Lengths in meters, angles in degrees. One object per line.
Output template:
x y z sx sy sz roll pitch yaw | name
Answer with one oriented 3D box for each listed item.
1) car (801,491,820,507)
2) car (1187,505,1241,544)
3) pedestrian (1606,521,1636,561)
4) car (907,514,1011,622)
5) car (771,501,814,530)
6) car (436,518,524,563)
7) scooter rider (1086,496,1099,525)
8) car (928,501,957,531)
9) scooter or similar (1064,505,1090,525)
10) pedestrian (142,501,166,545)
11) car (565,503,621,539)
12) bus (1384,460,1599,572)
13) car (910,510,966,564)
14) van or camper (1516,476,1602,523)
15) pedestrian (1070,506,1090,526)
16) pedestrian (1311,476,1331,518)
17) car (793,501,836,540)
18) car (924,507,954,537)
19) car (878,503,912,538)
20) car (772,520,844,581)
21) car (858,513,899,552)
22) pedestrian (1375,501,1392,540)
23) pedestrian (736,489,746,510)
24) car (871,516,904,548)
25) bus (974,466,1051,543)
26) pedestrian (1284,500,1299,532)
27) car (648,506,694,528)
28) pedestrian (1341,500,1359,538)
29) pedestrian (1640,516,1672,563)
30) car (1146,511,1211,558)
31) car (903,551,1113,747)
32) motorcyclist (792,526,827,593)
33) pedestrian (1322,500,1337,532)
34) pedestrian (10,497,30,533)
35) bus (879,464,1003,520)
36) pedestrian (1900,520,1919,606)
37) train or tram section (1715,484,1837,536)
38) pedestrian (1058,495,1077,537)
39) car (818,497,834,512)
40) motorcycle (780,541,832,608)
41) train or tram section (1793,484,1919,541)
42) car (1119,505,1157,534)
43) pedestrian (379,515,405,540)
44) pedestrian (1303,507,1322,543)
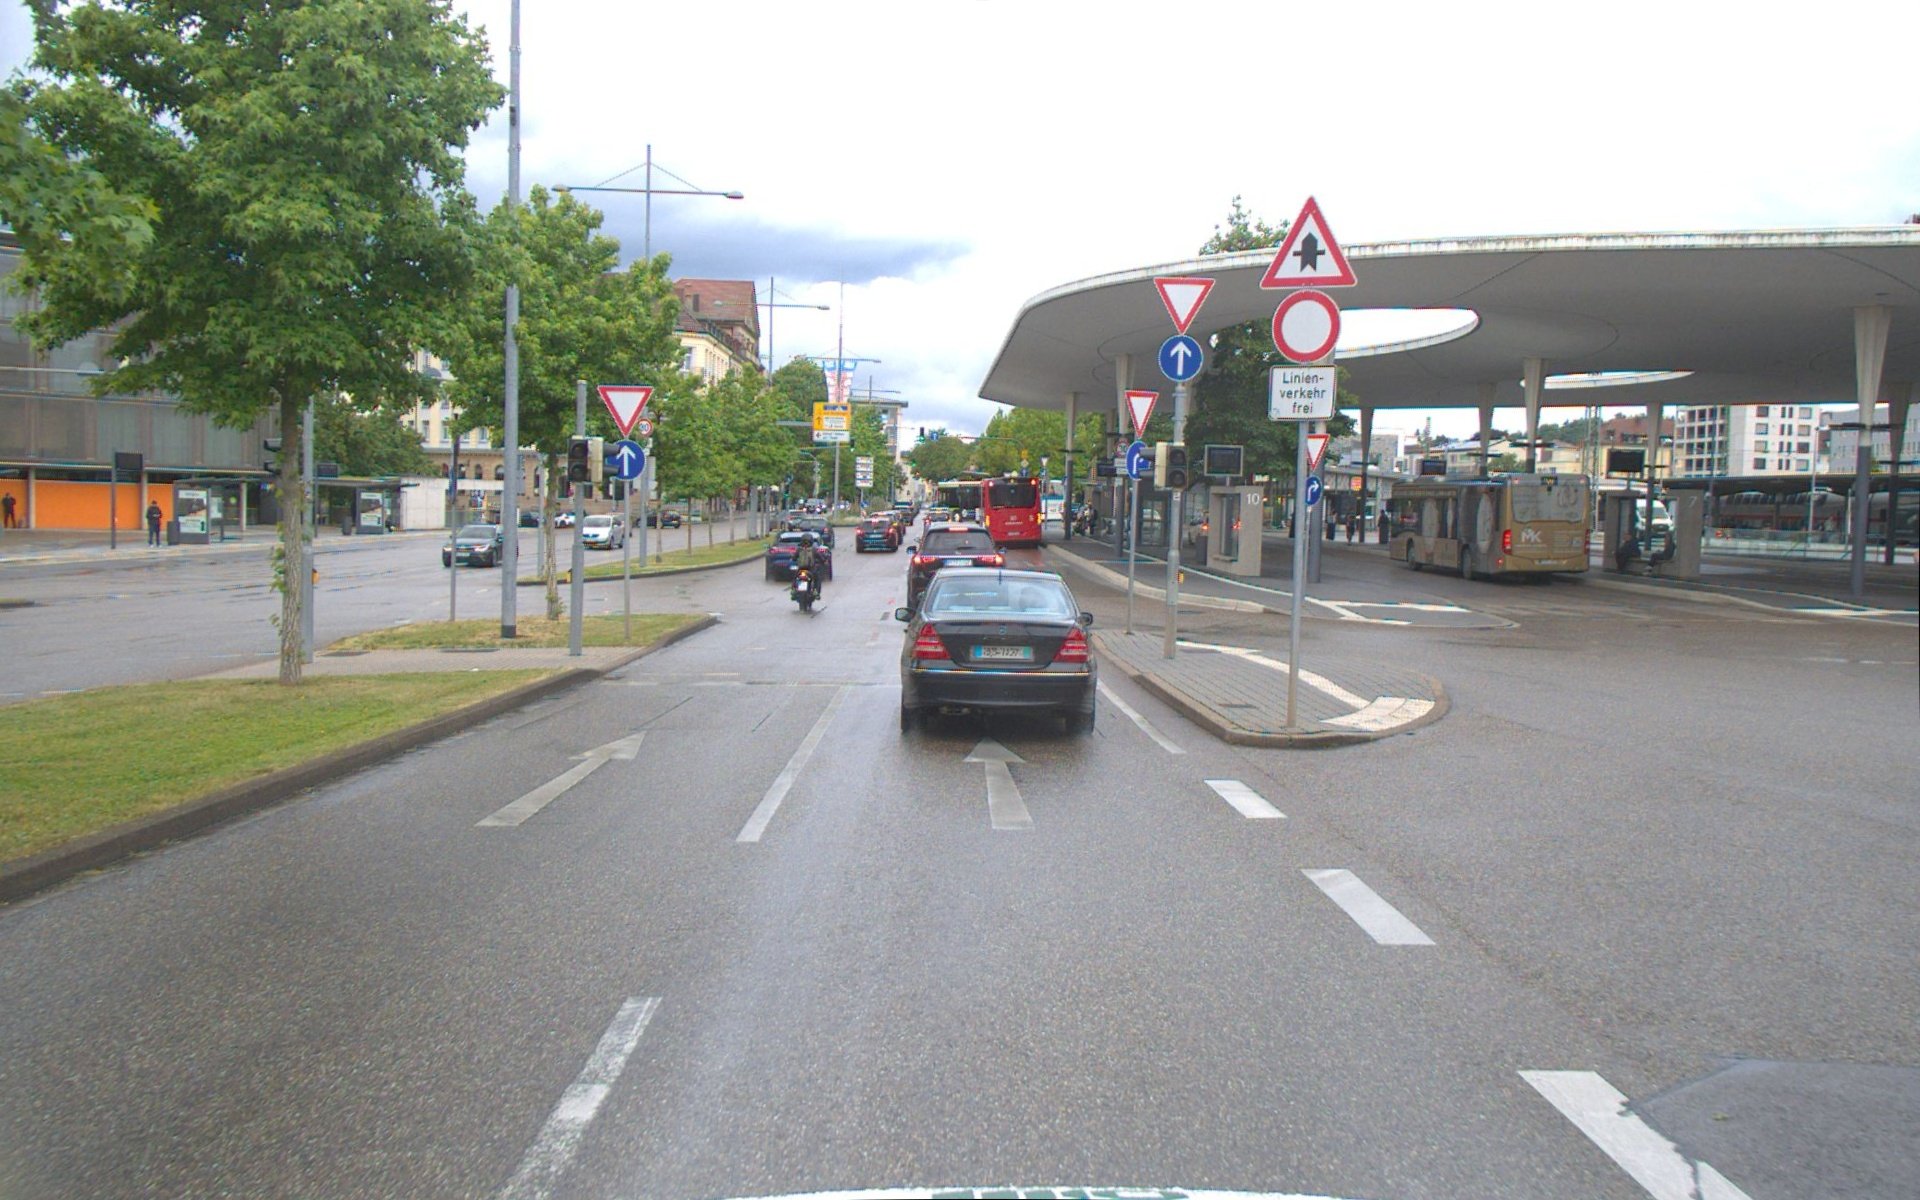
-15.691 -10.599 173.629 1.744 1.594 3.431 -2 4 -1 | car
11.712 -3.527 76.550 1.677 1.690 4.240 1 3 -2 | car
20.641 -1.852 51.675 0.776 1.247 0.634 1 3 16 | pedestrian
-0.062 -0.732 33.740 1.917 1.908 4.875 -2 4 -1 | car
-11.218 -5.632 110.668 1.838 1.713 3.977 3 1 -20 | car
-17.533 -2.208 60.666 1.809 1.530 4.921 0 3 0 | car
7.013 -4.710 87.263 0.579 1.515 0.765 1 3 13 | scooter rider
-1.020 -4.758 93.490 1.543 1.594 3.872 -2 4 -1 | car
6.190 -4.501 87.430 1.216 1.030 0.765 1 3 13 | scooter or similar
-31.625 -3.013 64.931 0.464 1.712 0.764 0 3 5 | pedestrian
-17.869 -3.880 80.742 1.809 1.681 4.420 0 3 -1 | car
16.312 -2.716 52.014 2.666 3.095 12.091 0 3 -1 | bus
-0.734 -2.086 53.719 1.706 1.594 3.872 -2 4 -1 | car
37.686 -6.294 104.135 4.515 2.602 2.118 3 1 -3 | van or camper
6.334 -4.443 87.313 0.894 1.002 0.634 2 -1 13 | pedestrian
18.388 -5.246 84.218 0.709 2.048 0.669 4 0 25 | pedestrian
-6.638 -3.660 75.616 1.642 1.651 3.872 -2 4 -1 | car
-1.406 -5.125 108.543 1.828 1.713 3.999 4 1 -2 | car
-3.196 -3.981 82.113 1.543 1.594 3.872 -2 4 -1 | car
-4.470 -1.501 49.187 1.779 1.597 4.405 -2 4 -1 | car
-3.551 -2.976 72.453 1.543 1.530 3.872 -2 4 0 | car
21.021 -3.934 82.069 0.578 1.906 0.715 3 4 28 | pedestrian
-21.143 -9.710 159.675 0.715 2.048 0.819 -2 4 -27 | pedestrian
-4.296 -4.049 98.684 1.828 1.713 3.999 4 1 -2 | car
2.341 -4.502 77.464 3.219 3.348 10.881 0 4 0 | bus
17.615 -4.467 87.810 0.568 1.605 0.560 4 0 28 | pedestrian
-21.739 -6.260 124.442 1.718 1.588 3.711 0 2 -42 | car
17.697 -3.687 75.004 0.549 1.721 0.613 1 3 -8 | pedestrian
20.837 -1.821 49.538 0.776 1.401 0.634 1 3 16 | pedestrian
7.348 -2.234 55.915 1.614 1.478 3.237 0 4 -3 | car
0.330 0.323 15.236 1.663 1.487 4.303 0 2 -1 | car
-3.149 -0.859 34.562 0.628 1.370 0.689 0 3 2 | motorcyclist
19.662 -4.471 88.018 0.569 1.605 0.559 3 0 34 | pedestrian
-45.365 -4.087 79.796 0.465 1.712 0.642 1 4 30 | pedestrian
-1.584 -8.241 126.980 2.820 4.056 11.695 -2 4 -40 | bus
19.647 -0.740 33.317 0.709 1.712 1.013 -3 3 -27 | pedestrian
64.973 -7.225 132.109 3.069 3.721 12.325 4 4 -2 | train or tram section
5.418 -4.228 83.115 0.761 2.047 0.783 4 4 11 | pedestrian
-14.551 -10.359 179.774 1.543 1.594 3.431 -2 4 -1 | car
-3.176 -0.547 34.253 0.776 1.283 1.856 -1 4 3 | motorcycle
65.294 -6.435 120.160 3.069 3.721 11.617 4 4 -2 | train or tram section
10.917 -4.961 101.659 1.677 1.690 4.240 1 3 -2 | car
-31.373 -4.015 91.371 0.956 1.289 0.850 5 5 19 | pedestrian
15.901 -3.363 74.622 0.587 1.609 0.710 0 1 -10 | pedestrian
